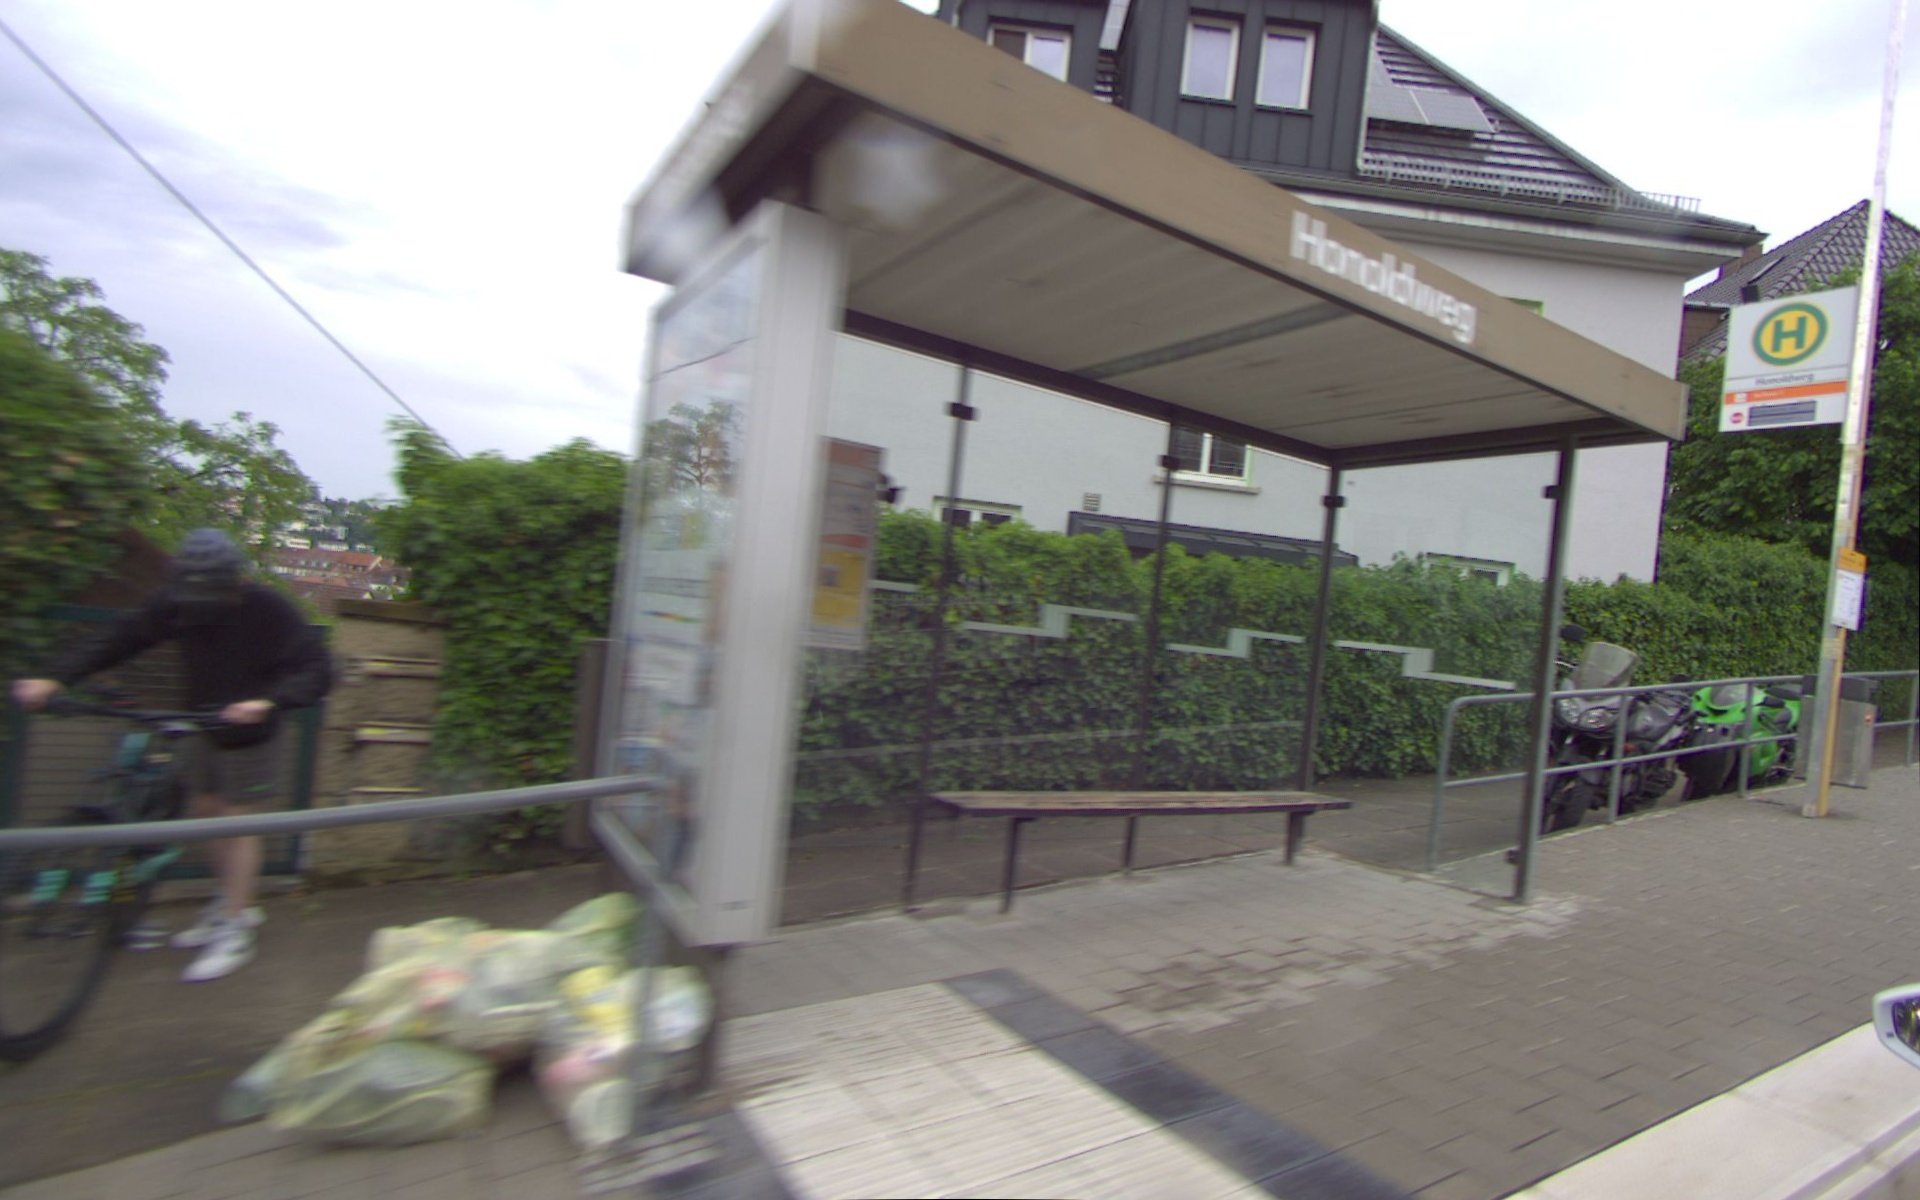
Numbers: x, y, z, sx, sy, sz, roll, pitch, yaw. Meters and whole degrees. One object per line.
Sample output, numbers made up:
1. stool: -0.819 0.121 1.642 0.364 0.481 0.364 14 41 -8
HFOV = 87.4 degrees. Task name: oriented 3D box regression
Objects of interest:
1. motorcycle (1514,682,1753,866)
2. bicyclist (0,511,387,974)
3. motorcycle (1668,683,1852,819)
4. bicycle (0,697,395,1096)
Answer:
1. motorcycle: 4.834 1.160 7.149 2.130 1.050 0.662 2 0 -35
2. bicyclist: -2.852 0.470 3.733 1.082 1.458 0.904 3 -1 -23
3. motorcycle: 6.819 1.225 8.524 1.990 0.946 0.662 2 0 -35
4. bicycle: -2.869 0.917 3.721 1.082 0.944 1.867 3 -1 -22
